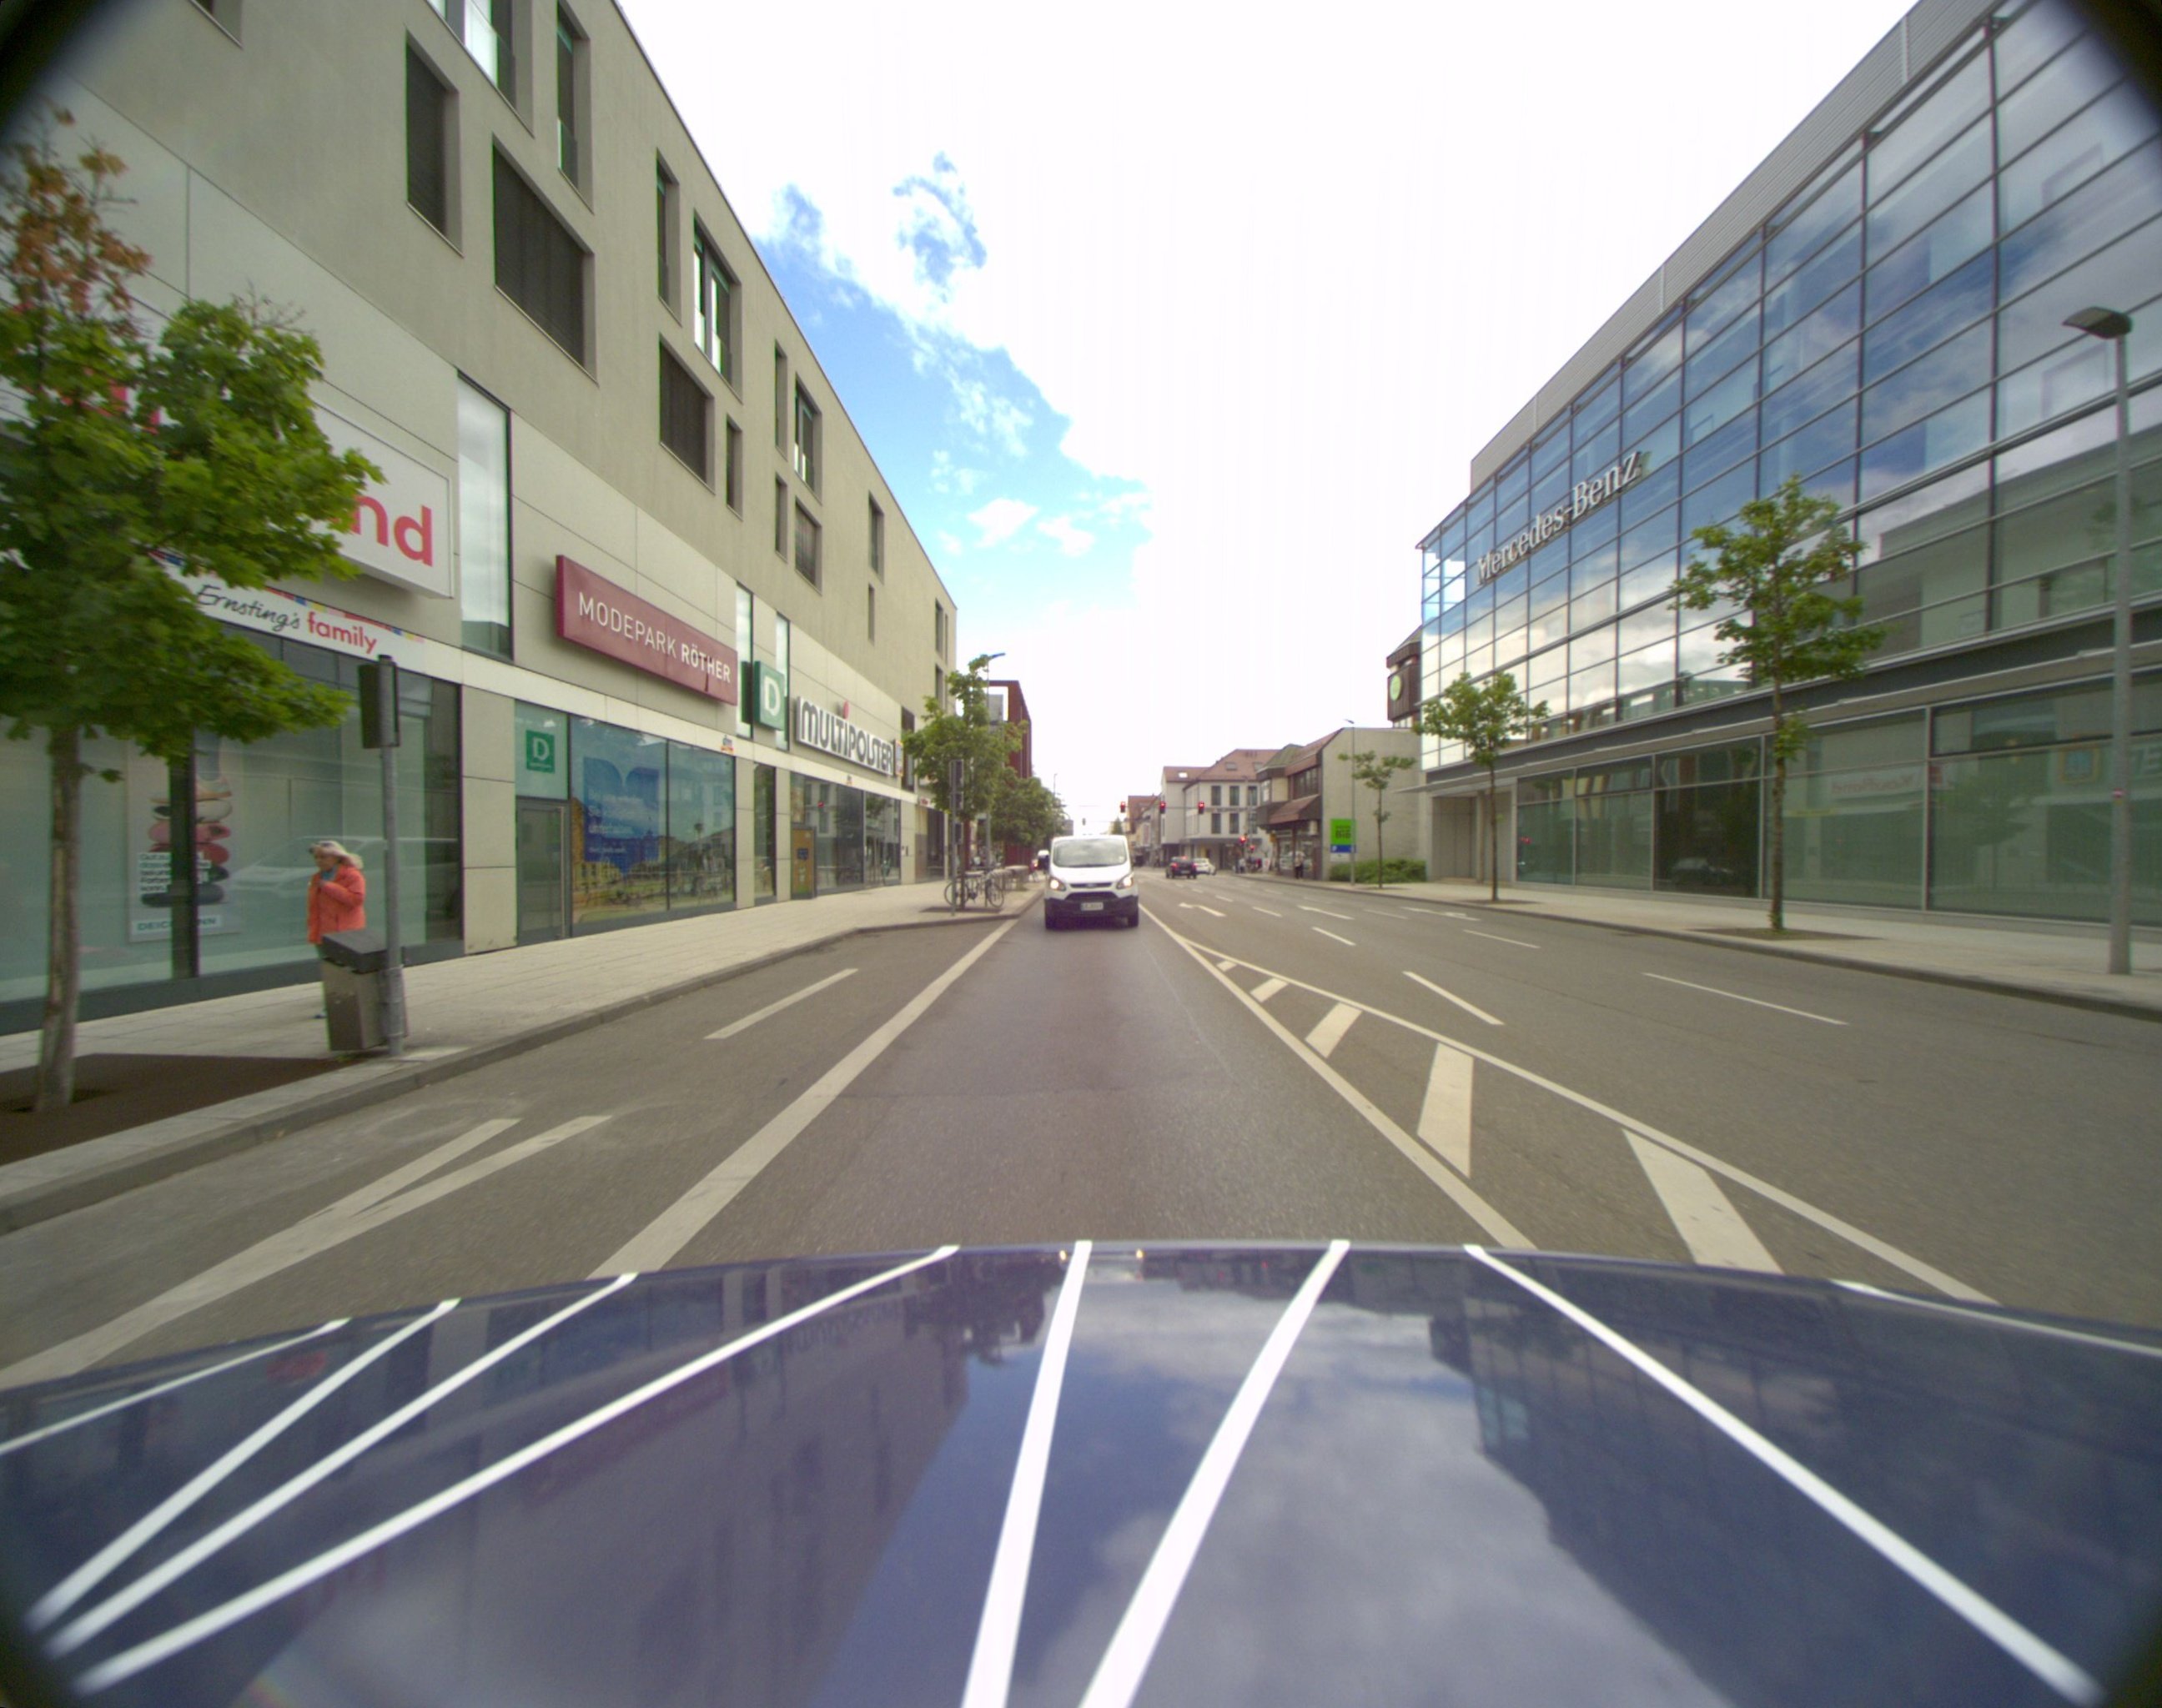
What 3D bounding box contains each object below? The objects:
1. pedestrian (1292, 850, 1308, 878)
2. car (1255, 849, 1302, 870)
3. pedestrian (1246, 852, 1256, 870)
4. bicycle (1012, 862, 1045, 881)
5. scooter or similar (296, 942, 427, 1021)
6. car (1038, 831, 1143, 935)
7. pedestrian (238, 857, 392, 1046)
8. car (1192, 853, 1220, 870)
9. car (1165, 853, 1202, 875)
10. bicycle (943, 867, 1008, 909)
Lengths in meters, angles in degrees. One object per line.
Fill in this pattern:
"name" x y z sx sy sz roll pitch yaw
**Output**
"pedestrian" 12.874 0.563 44.656 0.702 1.614 0.693 0 1 1
"car" 18.021 0.485 69.327 3.991 1.883 1.941 1 0 19
"pedestrian" 14.608 0.610 65.228 0.555 1.507 0.582 0 1 -32
"bicycle" -2.857 0.953 41.166 1.745 1.015 0.451 1 1 -6
"scooter or similar" -7.028 1.227 7.457 0.552 0.630 0.767 2 0 1
"car" 0.214 0.550 17.476 2.000 1.976 5.000 -2 1 1
"pedestrian" -6.713 0.816 6.696 0.590 1.558 0.732 2 1 1
"car" 11.072 0.655 67.595 1.937 1.458 4.000 1 0 1
"car" 6.994 0.664 52.226 1.803 1.458 3.999 1 0 -2
"bicycle" -2.911 0.941 21.063 1.745 1.093 0.561 2 0 -6
